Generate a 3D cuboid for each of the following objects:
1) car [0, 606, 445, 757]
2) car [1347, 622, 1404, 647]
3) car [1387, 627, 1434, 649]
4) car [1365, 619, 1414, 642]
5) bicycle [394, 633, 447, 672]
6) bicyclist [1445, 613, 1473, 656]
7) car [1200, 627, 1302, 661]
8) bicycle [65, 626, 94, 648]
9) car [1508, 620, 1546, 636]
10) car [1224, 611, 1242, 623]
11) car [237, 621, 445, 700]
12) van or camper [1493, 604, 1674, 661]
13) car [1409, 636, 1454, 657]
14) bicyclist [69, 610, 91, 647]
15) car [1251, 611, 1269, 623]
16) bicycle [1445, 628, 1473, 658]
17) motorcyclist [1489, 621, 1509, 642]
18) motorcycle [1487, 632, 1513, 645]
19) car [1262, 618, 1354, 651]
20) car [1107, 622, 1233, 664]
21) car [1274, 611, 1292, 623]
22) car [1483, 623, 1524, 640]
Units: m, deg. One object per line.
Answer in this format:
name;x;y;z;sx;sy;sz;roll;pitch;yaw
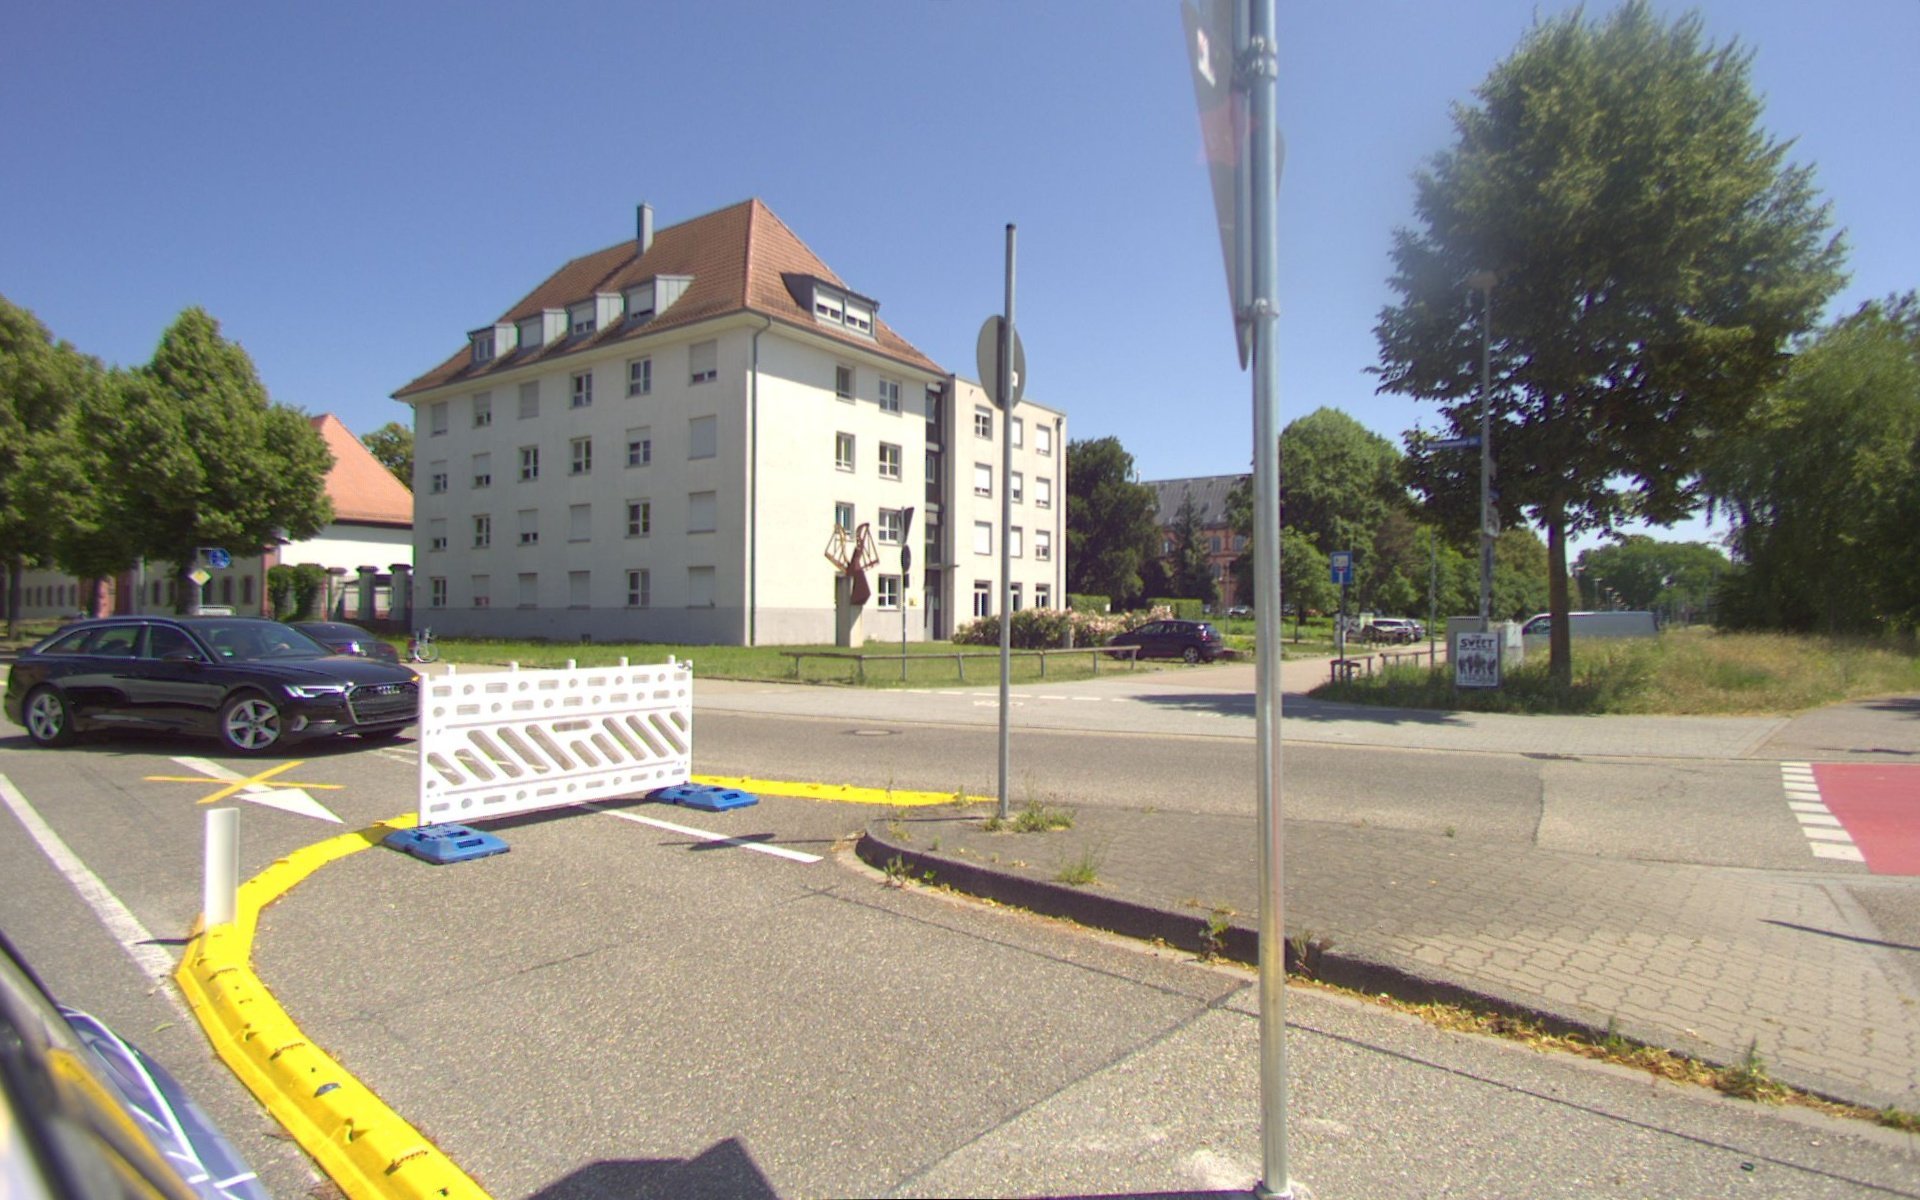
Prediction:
car;-8.311;0.861;11.308;4.576;1.462;1.792;-1;-3;16
car;23.333;1.949;56.896;2.748;1.367;1.156;-1;-2;42
car;29.015;2.424;65.222;2.528;1.368;1.068;-1;-1;42
car;26.107;1.850;61.499;2.528;1.368;1.068;-1;-1;42
bicycle;-15.973;1.535;29.935;1.985;1.032;0.700;0;2;42
bicyclist;19.448;1.333;39.411;0.715;1.650;0.961;2;0;42
car;11.046;1.660;38.532;3.507;1.227;1.340;-1;-1;36
bicycle;-38.741;1.614;44.527;1.904;0.922;0.556;-1;-2;36
car;73.179;3.648;130.648;3.999;2.029;1.972;-1;-2;42
car;34.482;2.137;127.791;1.474;1.427;2.996;-1;-1;30
car;-12.390;1.145;20.170;4.622;1.414;1.800;-1;-3;35
van or camper;21.747;1.107;35.450;5.260;1.871;1.976;-1;-1;35
car;31.722;3.093;68.083;2.528;1.368;1.068;-1;-1;42
bicyclist;-38.742;1.250;44.536;0.739;1.623;0.562;-1;-2;36
car;37.606;2.104;126.818;1.474;1.427;2.996;-1;-1;30
bicycle;19.432;1.659;39.379;0.550;1.121;1.654;2;0;41
motorcyclist;42.658;2.467;80.078;1.253;1.621;1.423;-1;-2;36
motorcycle;42.987;3.043;80.564;1.369;0.929;3.186;-1;-1;36
car;16.358;1.602;47.648;3.800;1.336;1.639;2;1;36
car;7.002;1.401;33.873;3.800;1.337;1.639;-1;-1;36
car;39.876;2.084;124.942;1.474;1.427;2.996;-1;-1;30
car;65.183;3.788;121.347;3.999;2.029;1.972;-1;-2;42
